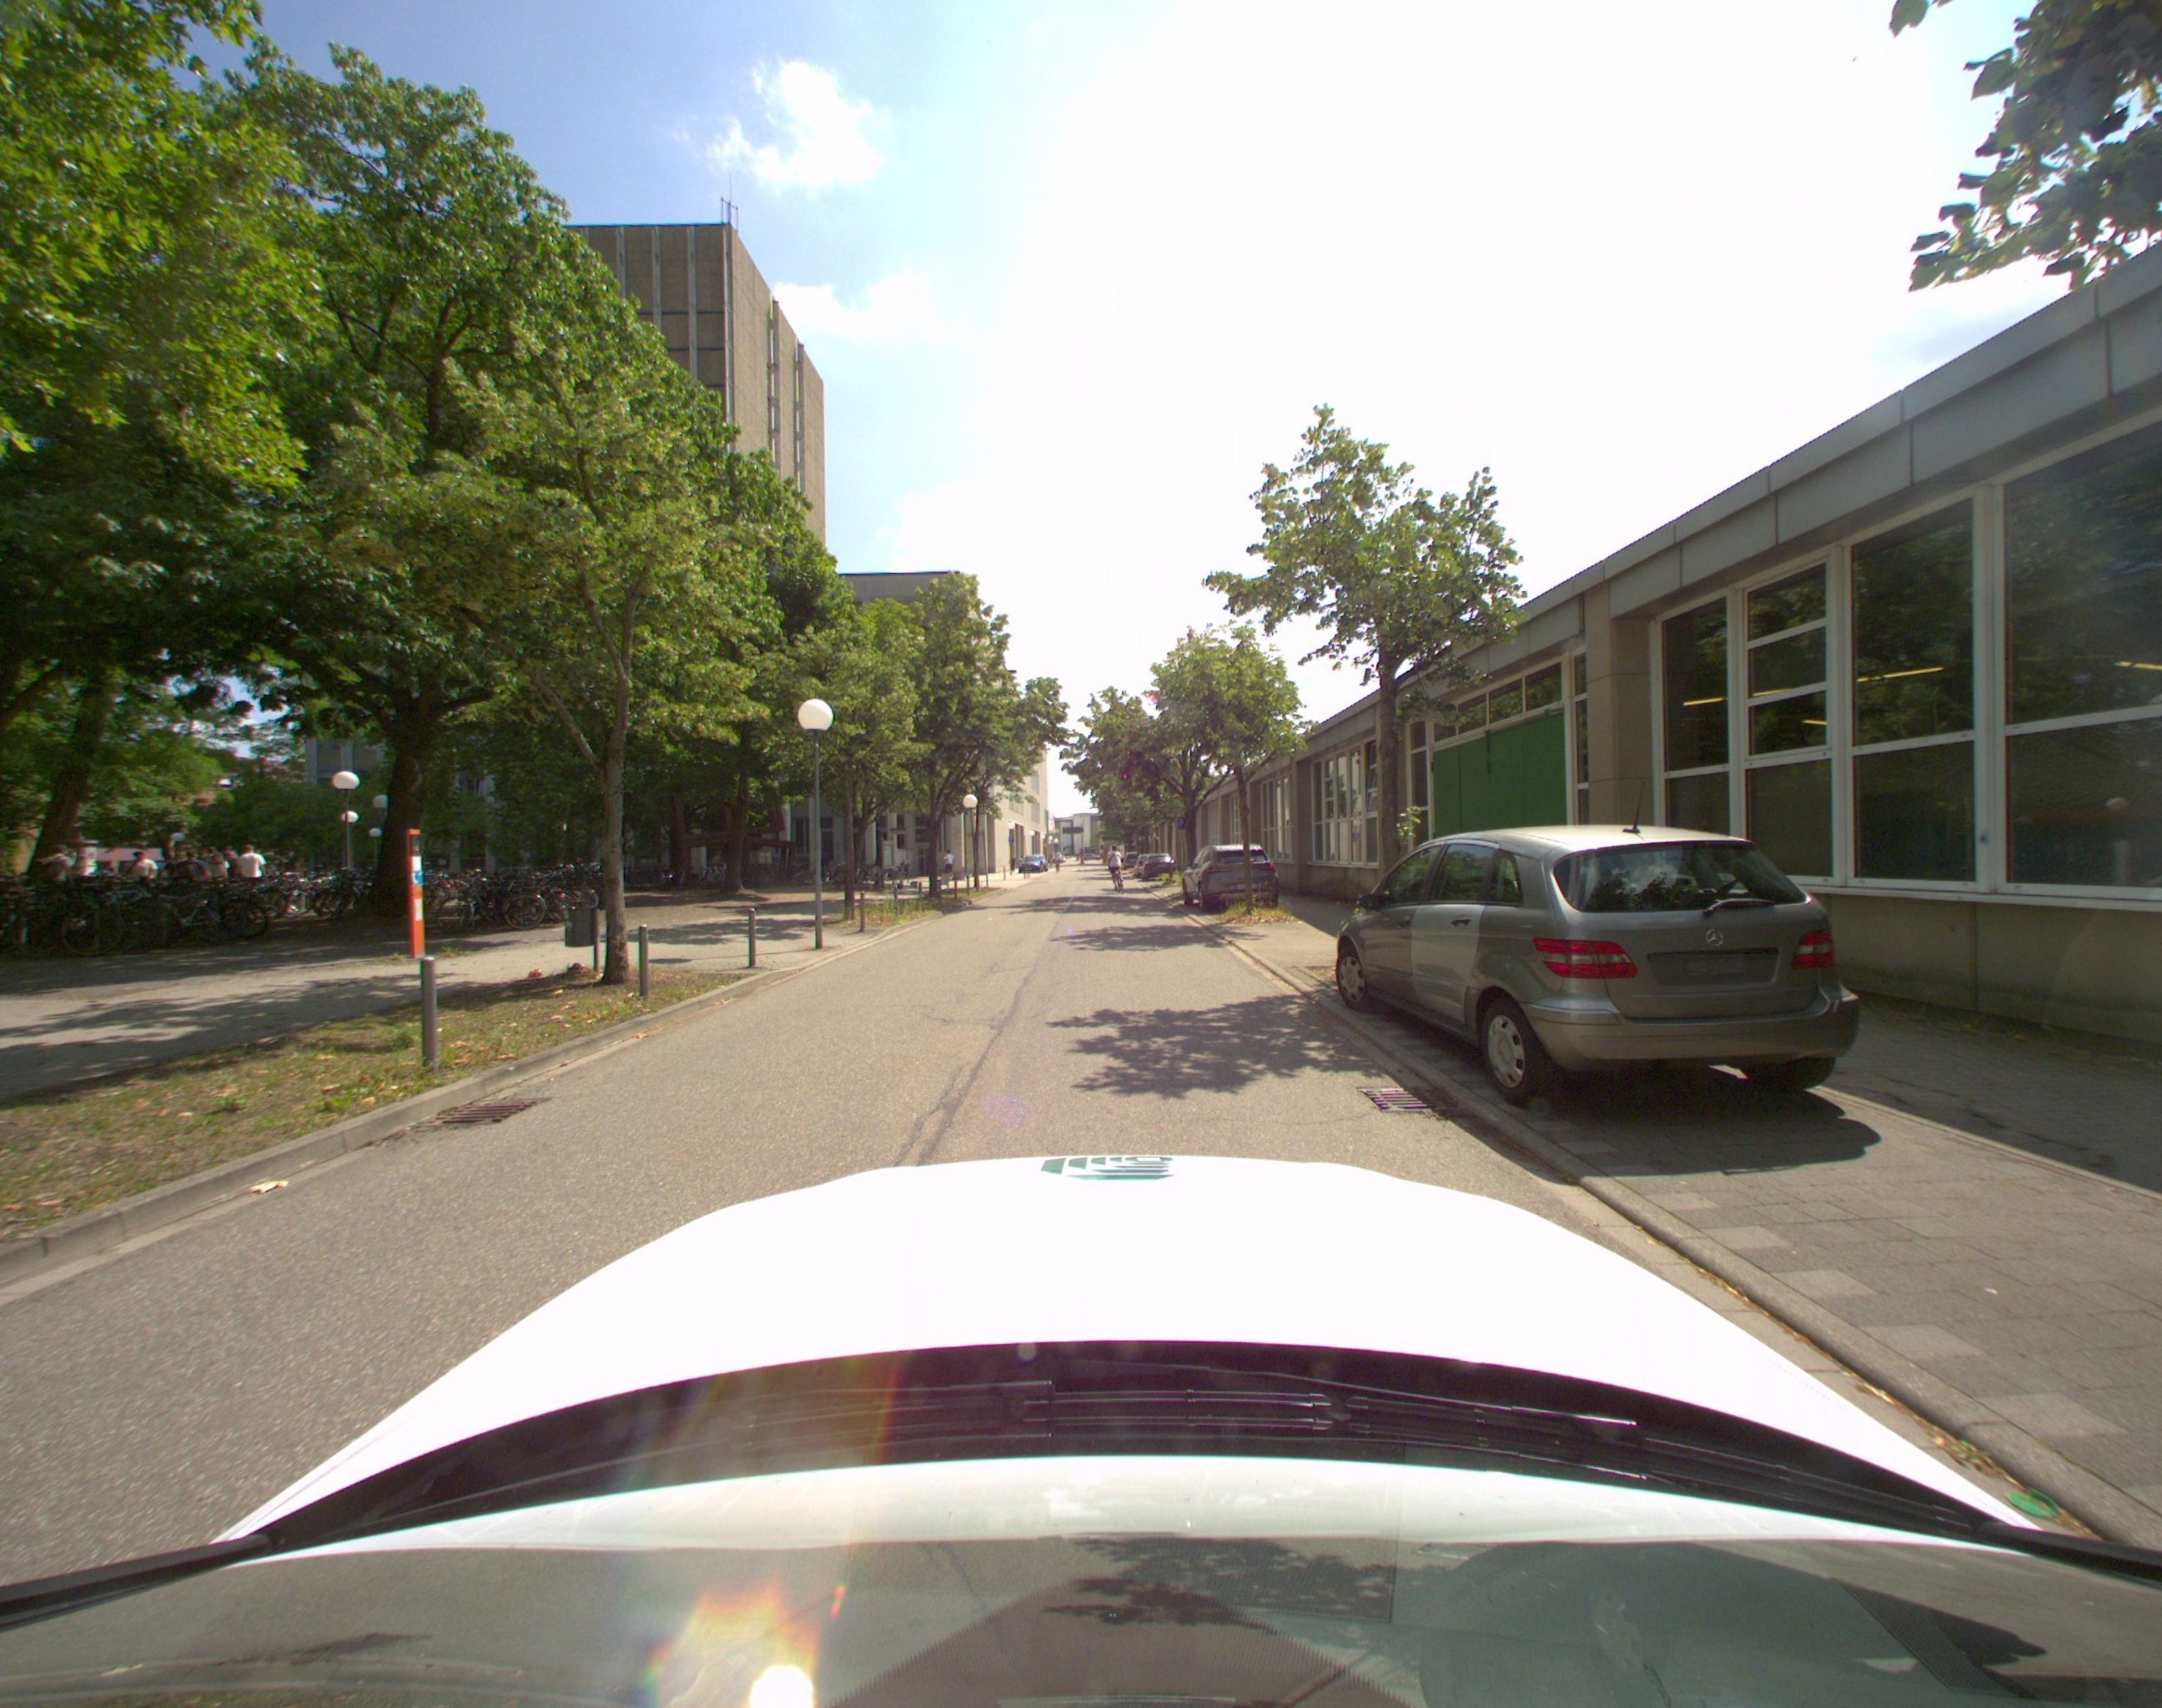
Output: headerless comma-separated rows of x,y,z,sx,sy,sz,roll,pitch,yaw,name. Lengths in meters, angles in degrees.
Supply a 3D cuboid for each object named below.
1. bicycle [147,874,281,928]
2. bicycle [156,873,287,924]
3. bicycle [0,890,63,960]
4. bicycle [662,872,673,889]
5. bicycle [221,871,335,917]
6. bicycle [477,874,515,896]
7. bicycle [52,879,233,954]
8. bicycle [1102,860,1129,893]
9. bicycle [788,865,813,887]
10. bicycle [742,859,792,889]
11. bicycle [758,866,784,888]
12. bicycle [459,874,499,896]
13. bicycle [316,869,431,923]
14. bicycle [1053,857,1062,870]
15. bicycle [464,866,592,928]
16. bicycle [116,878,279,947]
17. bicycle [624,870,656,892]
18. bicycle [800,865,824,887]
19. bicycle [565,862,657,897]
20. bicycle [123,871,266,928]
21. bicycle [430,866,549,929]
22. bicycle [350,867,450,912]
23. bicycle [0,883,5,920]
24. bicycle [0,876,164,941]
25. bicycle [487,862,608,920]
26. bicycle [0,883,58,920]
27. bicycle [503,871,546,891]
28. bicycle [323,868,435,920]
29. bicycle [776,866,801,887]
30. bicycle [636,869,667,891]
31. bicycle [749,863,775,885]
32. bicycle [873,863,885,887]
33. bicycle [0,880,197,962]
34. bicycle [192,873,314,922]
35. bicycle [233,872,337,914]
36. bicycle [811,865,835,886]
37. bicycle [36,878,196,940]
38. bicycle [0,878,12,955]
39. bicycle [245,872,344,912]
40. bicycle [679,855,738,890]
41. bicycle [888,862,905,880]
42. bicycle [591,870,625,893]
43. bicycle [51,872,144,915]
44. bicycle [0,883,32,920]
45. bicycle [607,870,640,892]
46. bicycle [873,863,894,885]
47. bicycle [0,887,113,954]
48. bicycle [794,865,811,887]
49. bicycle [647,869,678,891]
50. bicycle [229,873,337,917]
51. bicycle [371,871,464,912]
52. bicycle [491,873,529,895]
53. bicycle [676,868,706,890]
-18.768,1.007,17.666,1.965,1.089,0.544,0,0,-16,bicycle
-19.612,0.994,18.632,1.972,1.089,0.542,0,0,-28,bicycle
-16.981,1.084,12.410,1.961,1.027,0.536,0,0,-10,bicycle
-20.088,1.268,39.553,0.324,0.763,1.544,0,0,-32,bicycle
-20.258,0.986,20.606,1.972,1.089,0.542,0,0,-28,bicycle
-30.610,1.595,42.639,0.550,1.086,1.973,1,0,1,bicycle
-14.943,0.973,13.023,1.861,1.089,0.543,0,0,-21,bicycle
1.372,0.873,32.057,0.878,1.199,2.754,-1,0,6,bicycle
-14.608,1.139,42.406,0.550,1.086,1.973,1,0,1,bicycle
-14.193,0.879,36.806,2.028,1.254,0.581,-2,0,-32,bicycle
-16.102,1.178,42.320,0.550,1.086,1.973,1,0,1,bicycle
-31.254,1.603,42.326,0.550,1.086,1.973,1,0,1,bicycle
-17.430,1.002,20.122,2.069,1.234,0.633,0,1,-34,bicycle
-1.997,0.811,69.746,0.683,1.130,1.888,-2,0,-1,bicycle
-11.536,0.872,17.073,2.058,1.234,0.804,0,0,-17,bicycle
-15.247,0.988,14.113,1.861,1.089,0.543,0,0,-21,bicycle
-23.114,1.388,42.735,0.550,1.086,1.973,1,0,1,bicycle
-14.002,1.123,42.429,0.550,1.086,1.973,1,0,1,bicycle
-18.985,0.998,32.980,3.100,1.297,0.872,-1,0,-42,bicycle
-18.050,0.915,16.625,1.965,1.089,0.544,0,0,-16,bicycle
-11.245,0.803,15.523,1.777,1.132,0.456,0,0,-17,bicycle
-19.001,0.976,22.790,2.069,1.158,0.633,-1,1,-34,bicycle
-27.063,1.172,19.400,1.767,0.894,0.416,0,0,-19,bicycle
-17.941,0.955,14.624,1.965,1.089,0.534,0,0,-17,bicycle
-11.764,0.803,18.028,2.058,1.234,0.804,1,-1,-17,bicycle
-27.816,1.232,21.041,1.767,0.894,0.416,0,0,-19,bicycle
-27.660,1.318,40.496,0.548,0.871,2.646,0,0,-5,bicycle
-17.779,0.994,20.691,2.069,1.234,0.633,0,0,-34,bicycle
-15.256,1.161,42.537,0.550,1.086,1.973,1,0,1,bicycle
-22.464,1.366,42.627,0.550,1.086,1.973,1,0,1,bicycle
-15.610,0.984,39.876,0.473,1.032,1.851,-1,0,2,bicycle
-8.928,0.898,36.030,0.382,1.025,1.808,-1,0,-11,bicycle
-14.407,0.959,11.972,1.861,1.089,0.543,0,0,-21,bicycle
-19.783,1.028,19.515,1.972,1.089,0.542,0,0,-28,bicycle
-21.932,1.059,22.491,1.972,1.089,0.542,0,0,-28,bicycle
-13.437,1.109,42.491,0.550,1.086,1.973,1,0,1,bicycle
-18.279,1.027,15.469,1.965,1.089,0.544,0,0,-16,bicycle
-16.868,0.926,11.713,1.961,1.125,0.536,0,0,-10,bicycle
-22.673,1.079,23.506,1.972,1.089,0.542,0,0,-28,bicycle
-16.243,0.802,35.539,2.299,1.450,0.601,-1,0,-32,bicycle
-11.518,1.072,50.808,0.463,1.014,1.867,0,2,5,bicycle
-24.376,1.401,42.031,0.550,1.086,1.973,1,0,1,bicycle
-28.909,1.156,23.959,1.795,1.207,0.422,0,0,-16,bicycle
-27.532,1.199,20.286,1.767,0.894,0.416,0,0,-19,bicycle
-23.703,1.388,42.213,0.550,1.086,1.973,1,0,1,bicycle
-10.238,1.014,42.316,0.550,1.086,1.973,1,0,1,bicycle
-17.310,1.084,13.349,1.961,1.027,0.536,0,0,-10,bicycle
-12.953,1.012,37.885,0.475,0.965,1.651,-1,0,-10,bicycle
-21.808,1.343,42.482,0.550,1.086,1.973,1,0,1,bicycle
-21.186,1.063,21.669,1.972,1.089,0.542,0,0,-28,bicycle
-19.513,1.090,24.022,2.069,1.132,0.633,0,0,-34,bicycle
-29.741,1.564,42.433,0.550,1.086,1.973,1,0,1,bicycle
-20.327,1.301,42.459,0.550,1.086,1.973,1,0,1,bicycle
